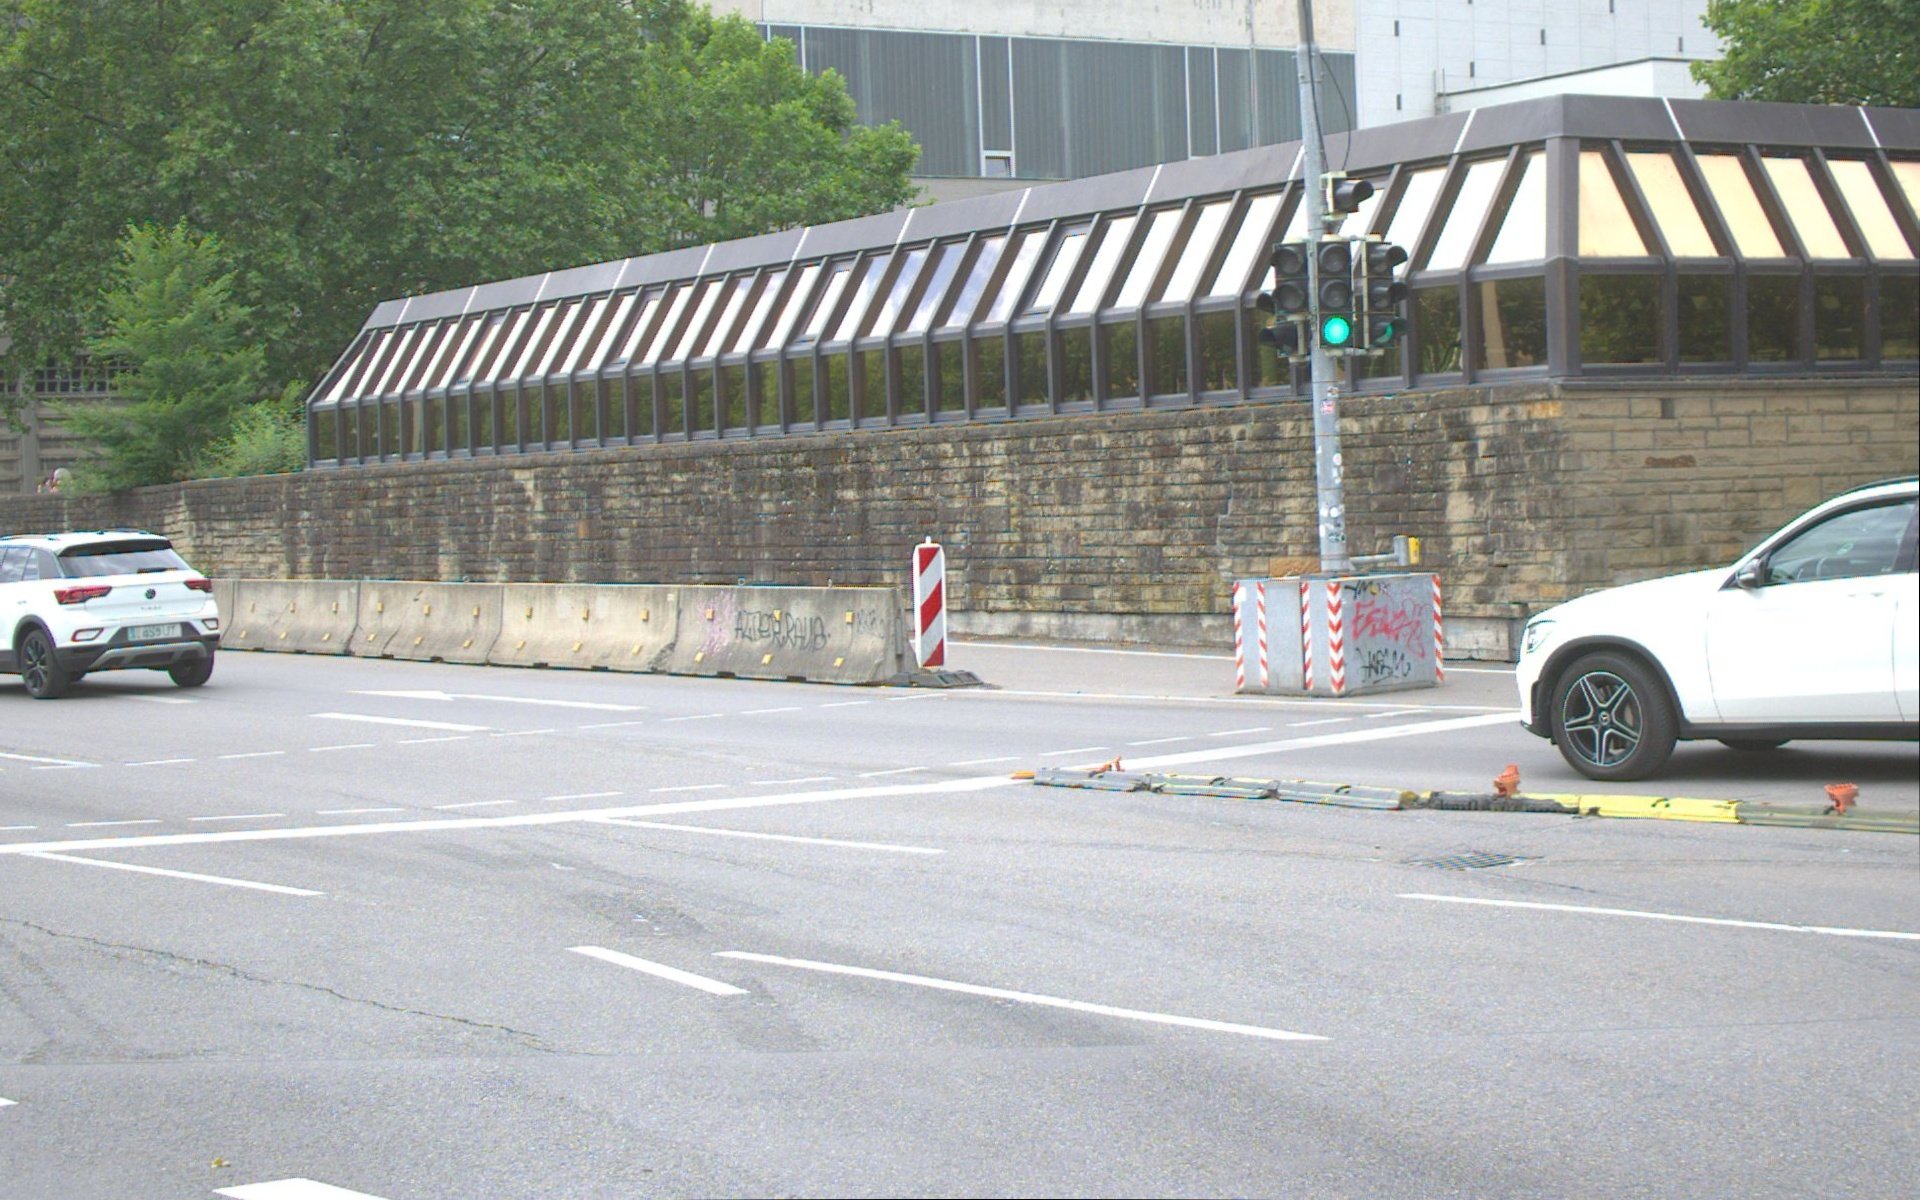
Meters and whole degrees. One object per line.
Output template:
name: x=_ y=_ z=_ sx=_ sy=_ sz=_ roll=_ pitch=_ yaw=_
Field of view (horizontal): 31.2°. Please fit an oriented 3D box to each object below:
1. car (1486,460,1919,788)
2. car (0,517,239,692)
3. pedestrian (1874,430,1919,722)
car: x=5.276 y=0.088 z=18.513 sx=4.548 sy=1.637 sz=1.813 roll=1 pitch=4 yaw=42
car: x=-9.090 y=0.011 z=34.218 sx=1.752 sy=1.562 sz=4.329 roll=-4 pitch=3 yaw=-42
pedestrian: x=6.858 y=-0.170 z=23.887 sx=0.849 sy=2.007 sz=0.622 roll=0 pitch=1 yaw=26
